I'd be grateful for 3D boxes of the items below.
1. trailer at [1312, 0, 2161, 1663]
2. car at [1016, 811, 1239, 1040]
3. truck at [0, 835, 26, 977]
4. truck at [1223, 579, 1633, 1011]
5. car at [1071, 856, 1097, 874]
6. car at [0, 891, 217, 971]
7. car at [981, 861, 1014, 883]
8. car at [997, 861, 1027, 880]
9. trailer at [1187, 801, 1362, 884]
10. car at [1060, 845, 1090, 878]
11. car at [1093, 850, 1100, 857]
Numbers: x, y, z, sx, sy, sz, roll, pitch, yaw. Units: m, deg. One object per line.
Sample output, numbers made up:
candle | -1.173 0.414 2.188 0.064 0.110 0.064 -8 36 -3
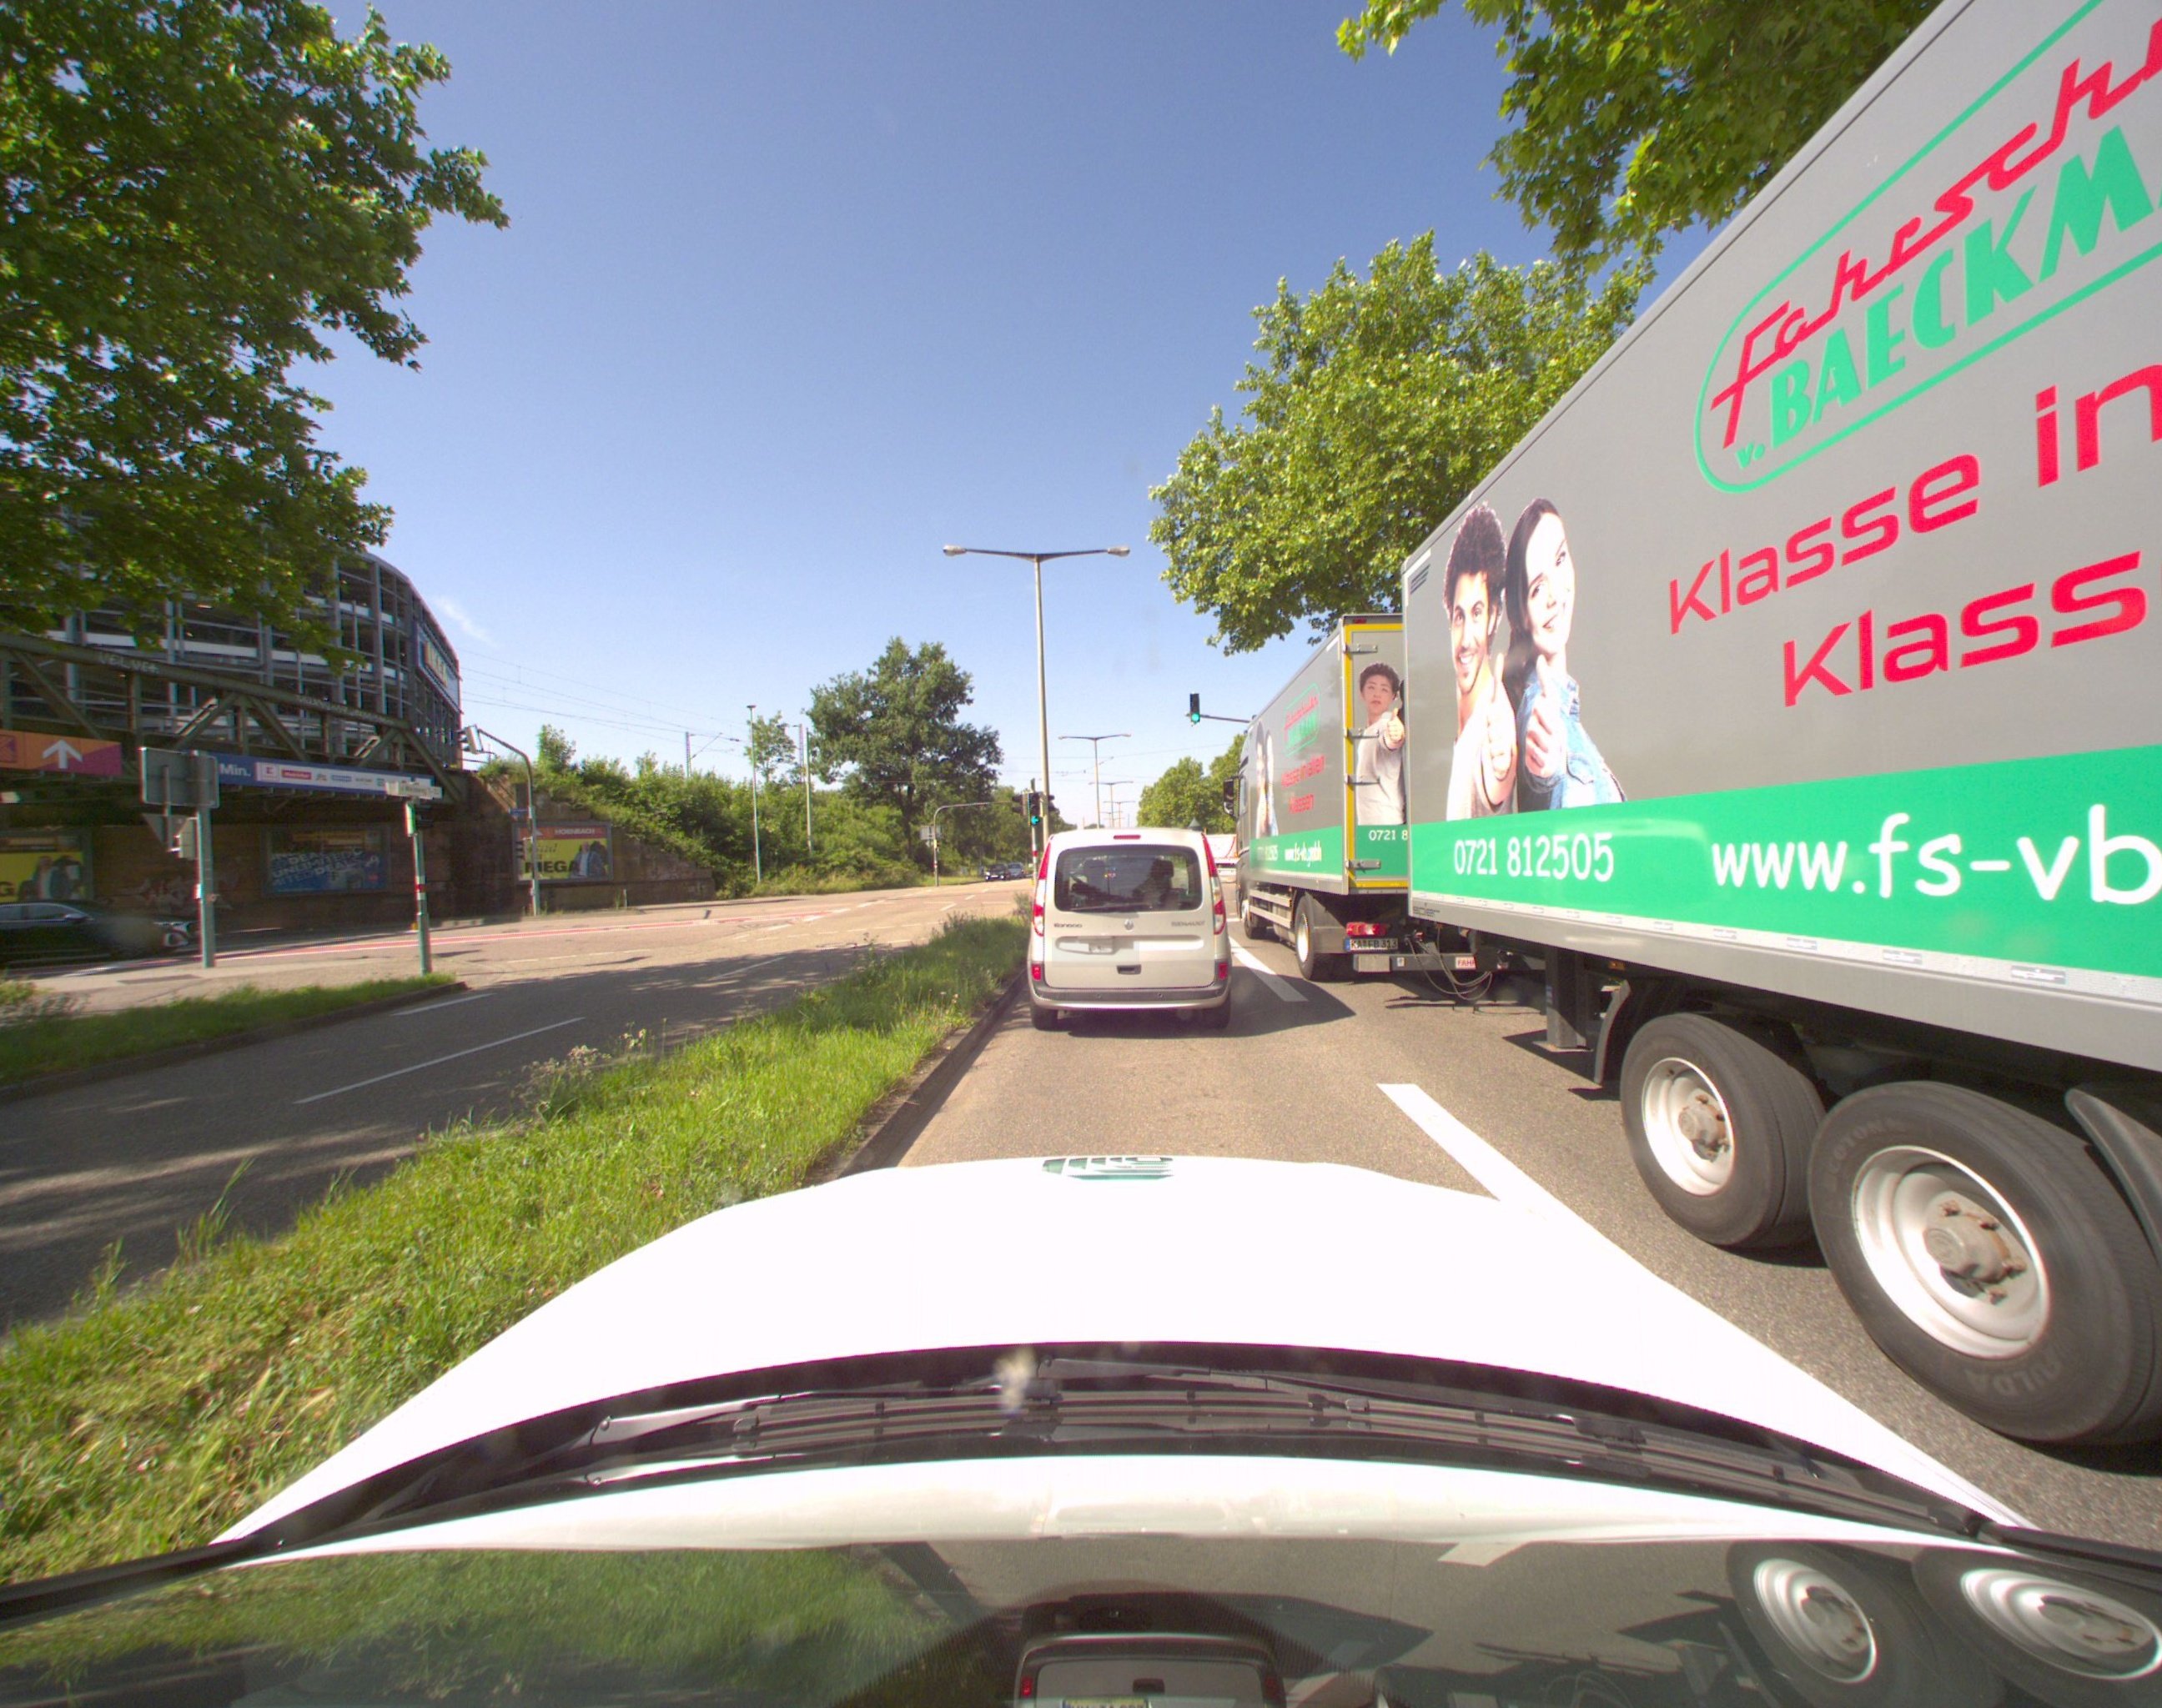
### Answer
trailer | 3.310 -0.566 3.585 2.724 3.877 7.743 -2 -1 4
car | 0.437 0.595 8.560 1.779 1.838 4.001 0 -1 2
truck | -26.359 1.314 15.687 6.890 3.105 2.196 -4 1 -32
truck | 3.919 -0.484 11.846 2.717 3.889 8.732 -2 -1 4
car | 0.331 1.011 75.978 1.984 1.585 4.005 -3 -1 5
car | -25.803 1.975 21.273 4.015 1.646 1.885 -4 1 -32
car | -6.644 1.392 64.870 1.902 1.641 3.742 -3 -1 5
car | -6.084 1.432 72.309 1.984 1.540 4.241 -3 -1 5
trailer | 10.166 -0.462 41.106 2.872 3.622 12.763 -1 -1 41
car | -0.467 0.670 68.951 1.984 2.607 5.140 -3 -1 5
car | 4.870 -0.235 254.550 1.880 2.014 4.004 0 -1 4
